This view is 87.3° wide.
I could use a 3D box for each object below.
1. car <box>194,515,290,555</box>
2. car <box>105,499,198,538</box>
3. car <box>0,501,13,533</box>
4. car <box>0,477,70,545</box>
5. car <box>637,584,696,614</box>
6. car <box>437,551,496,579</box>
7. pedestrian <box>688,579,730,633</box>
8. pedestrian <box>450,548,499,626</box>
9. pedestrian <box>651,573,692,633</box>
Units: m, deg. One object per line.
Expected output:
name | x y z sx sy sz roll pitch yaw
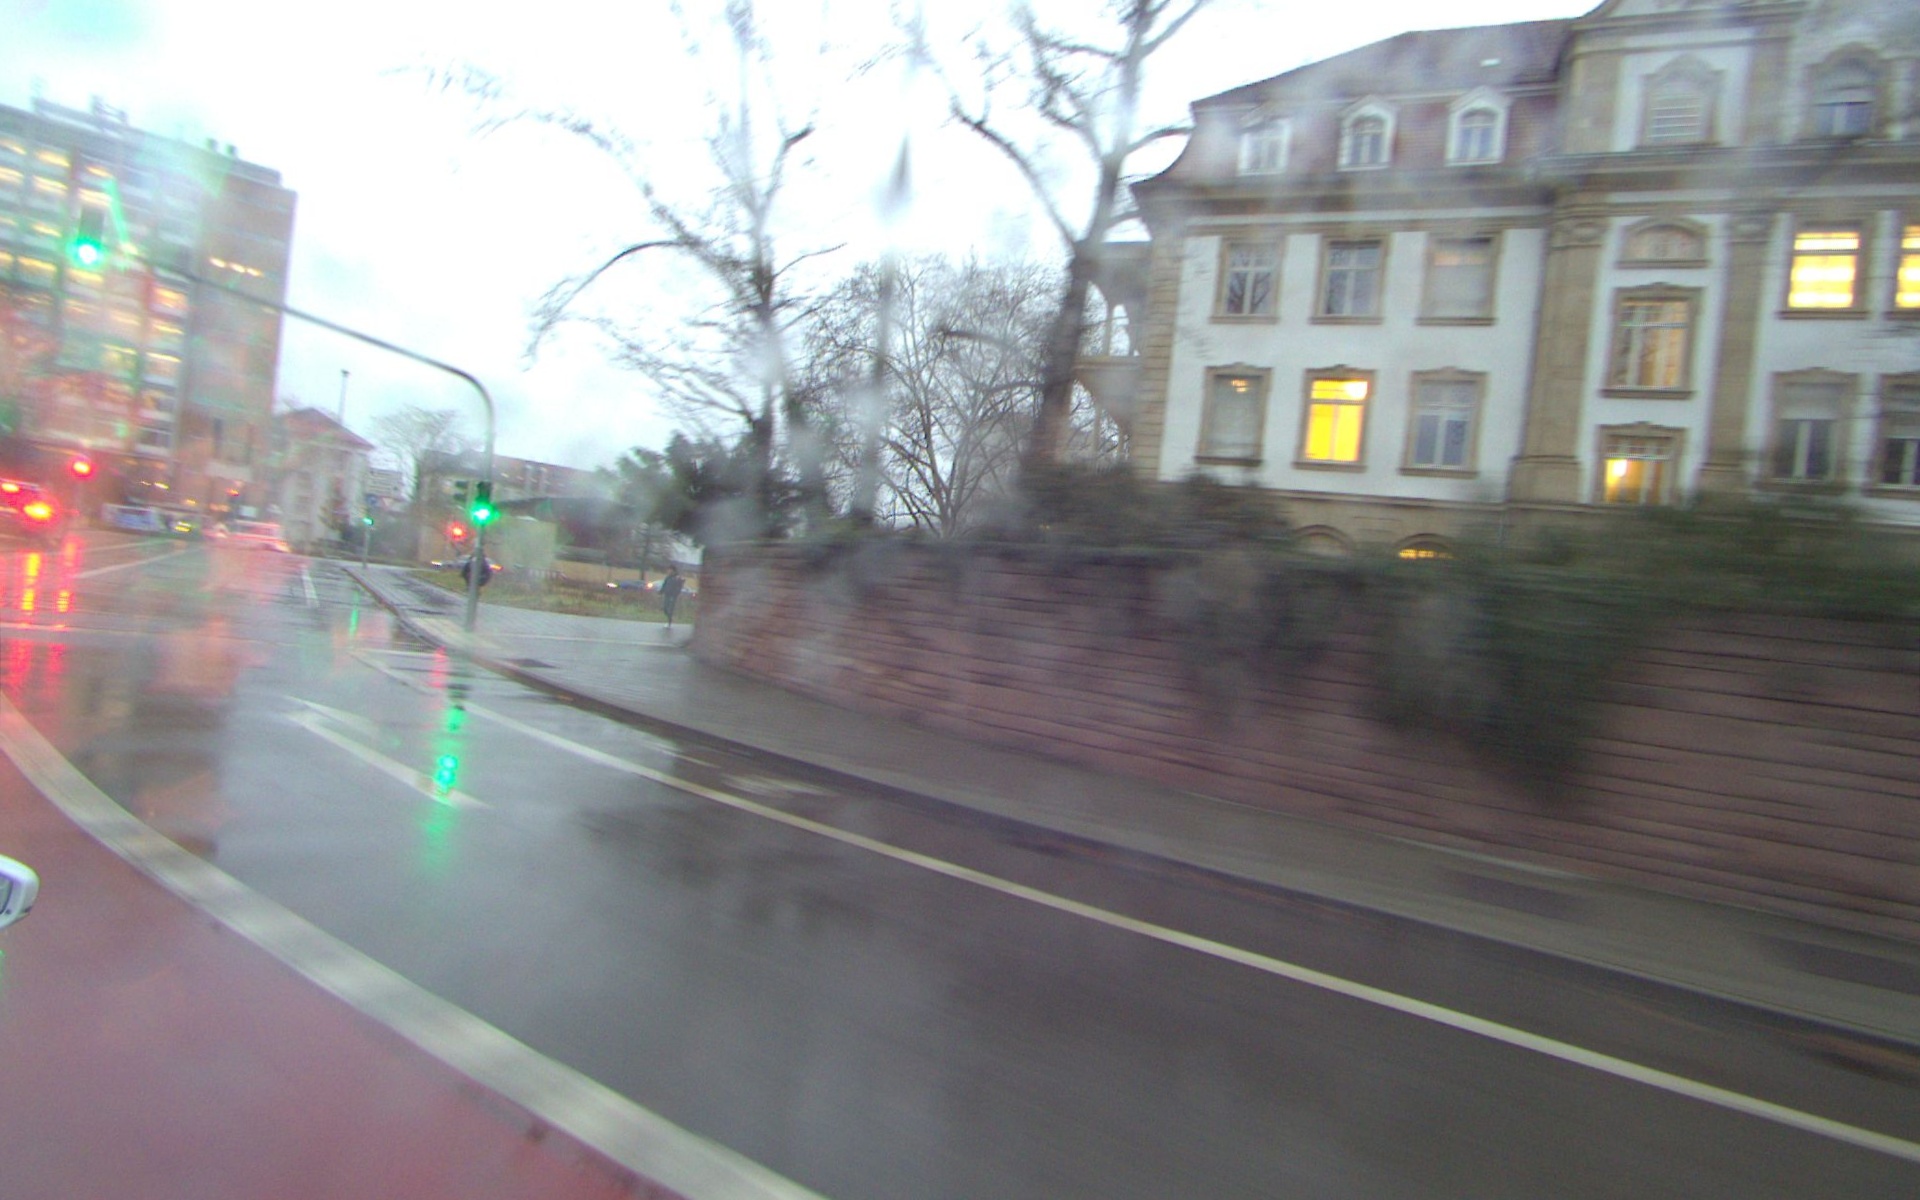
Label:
car | -51.973 -4.667 72.919 5.099 1.935 1.992 9 -2 -19
car | -66.815 -6.720 83.282 5.505 2.046 1.987 9 -4 -29
car | -43.295 -3.764 44.175 1.736 1.395 4.326 6 0 -34
car | -29.192 -2.787 31.214 1.638 1.840 3.963 9 -2 -34
car | -21.328 -0.089 73.176 3.608 1.669 1.876 10 -4 -31
car | -38.586 -2.750 78.754 3.874 1.501 1.464 9 -3 -19
pedestrian | -8.582 0.209 34.407 0.945 1.696 0.779 6 1 25
pedestrian | -11.530 -0.321 23.868 0.799 1.706 1.147 6 1 -32
pedestrian | -8.685 0.081 30.318 0.720 1.696 0.788 7 1 43
